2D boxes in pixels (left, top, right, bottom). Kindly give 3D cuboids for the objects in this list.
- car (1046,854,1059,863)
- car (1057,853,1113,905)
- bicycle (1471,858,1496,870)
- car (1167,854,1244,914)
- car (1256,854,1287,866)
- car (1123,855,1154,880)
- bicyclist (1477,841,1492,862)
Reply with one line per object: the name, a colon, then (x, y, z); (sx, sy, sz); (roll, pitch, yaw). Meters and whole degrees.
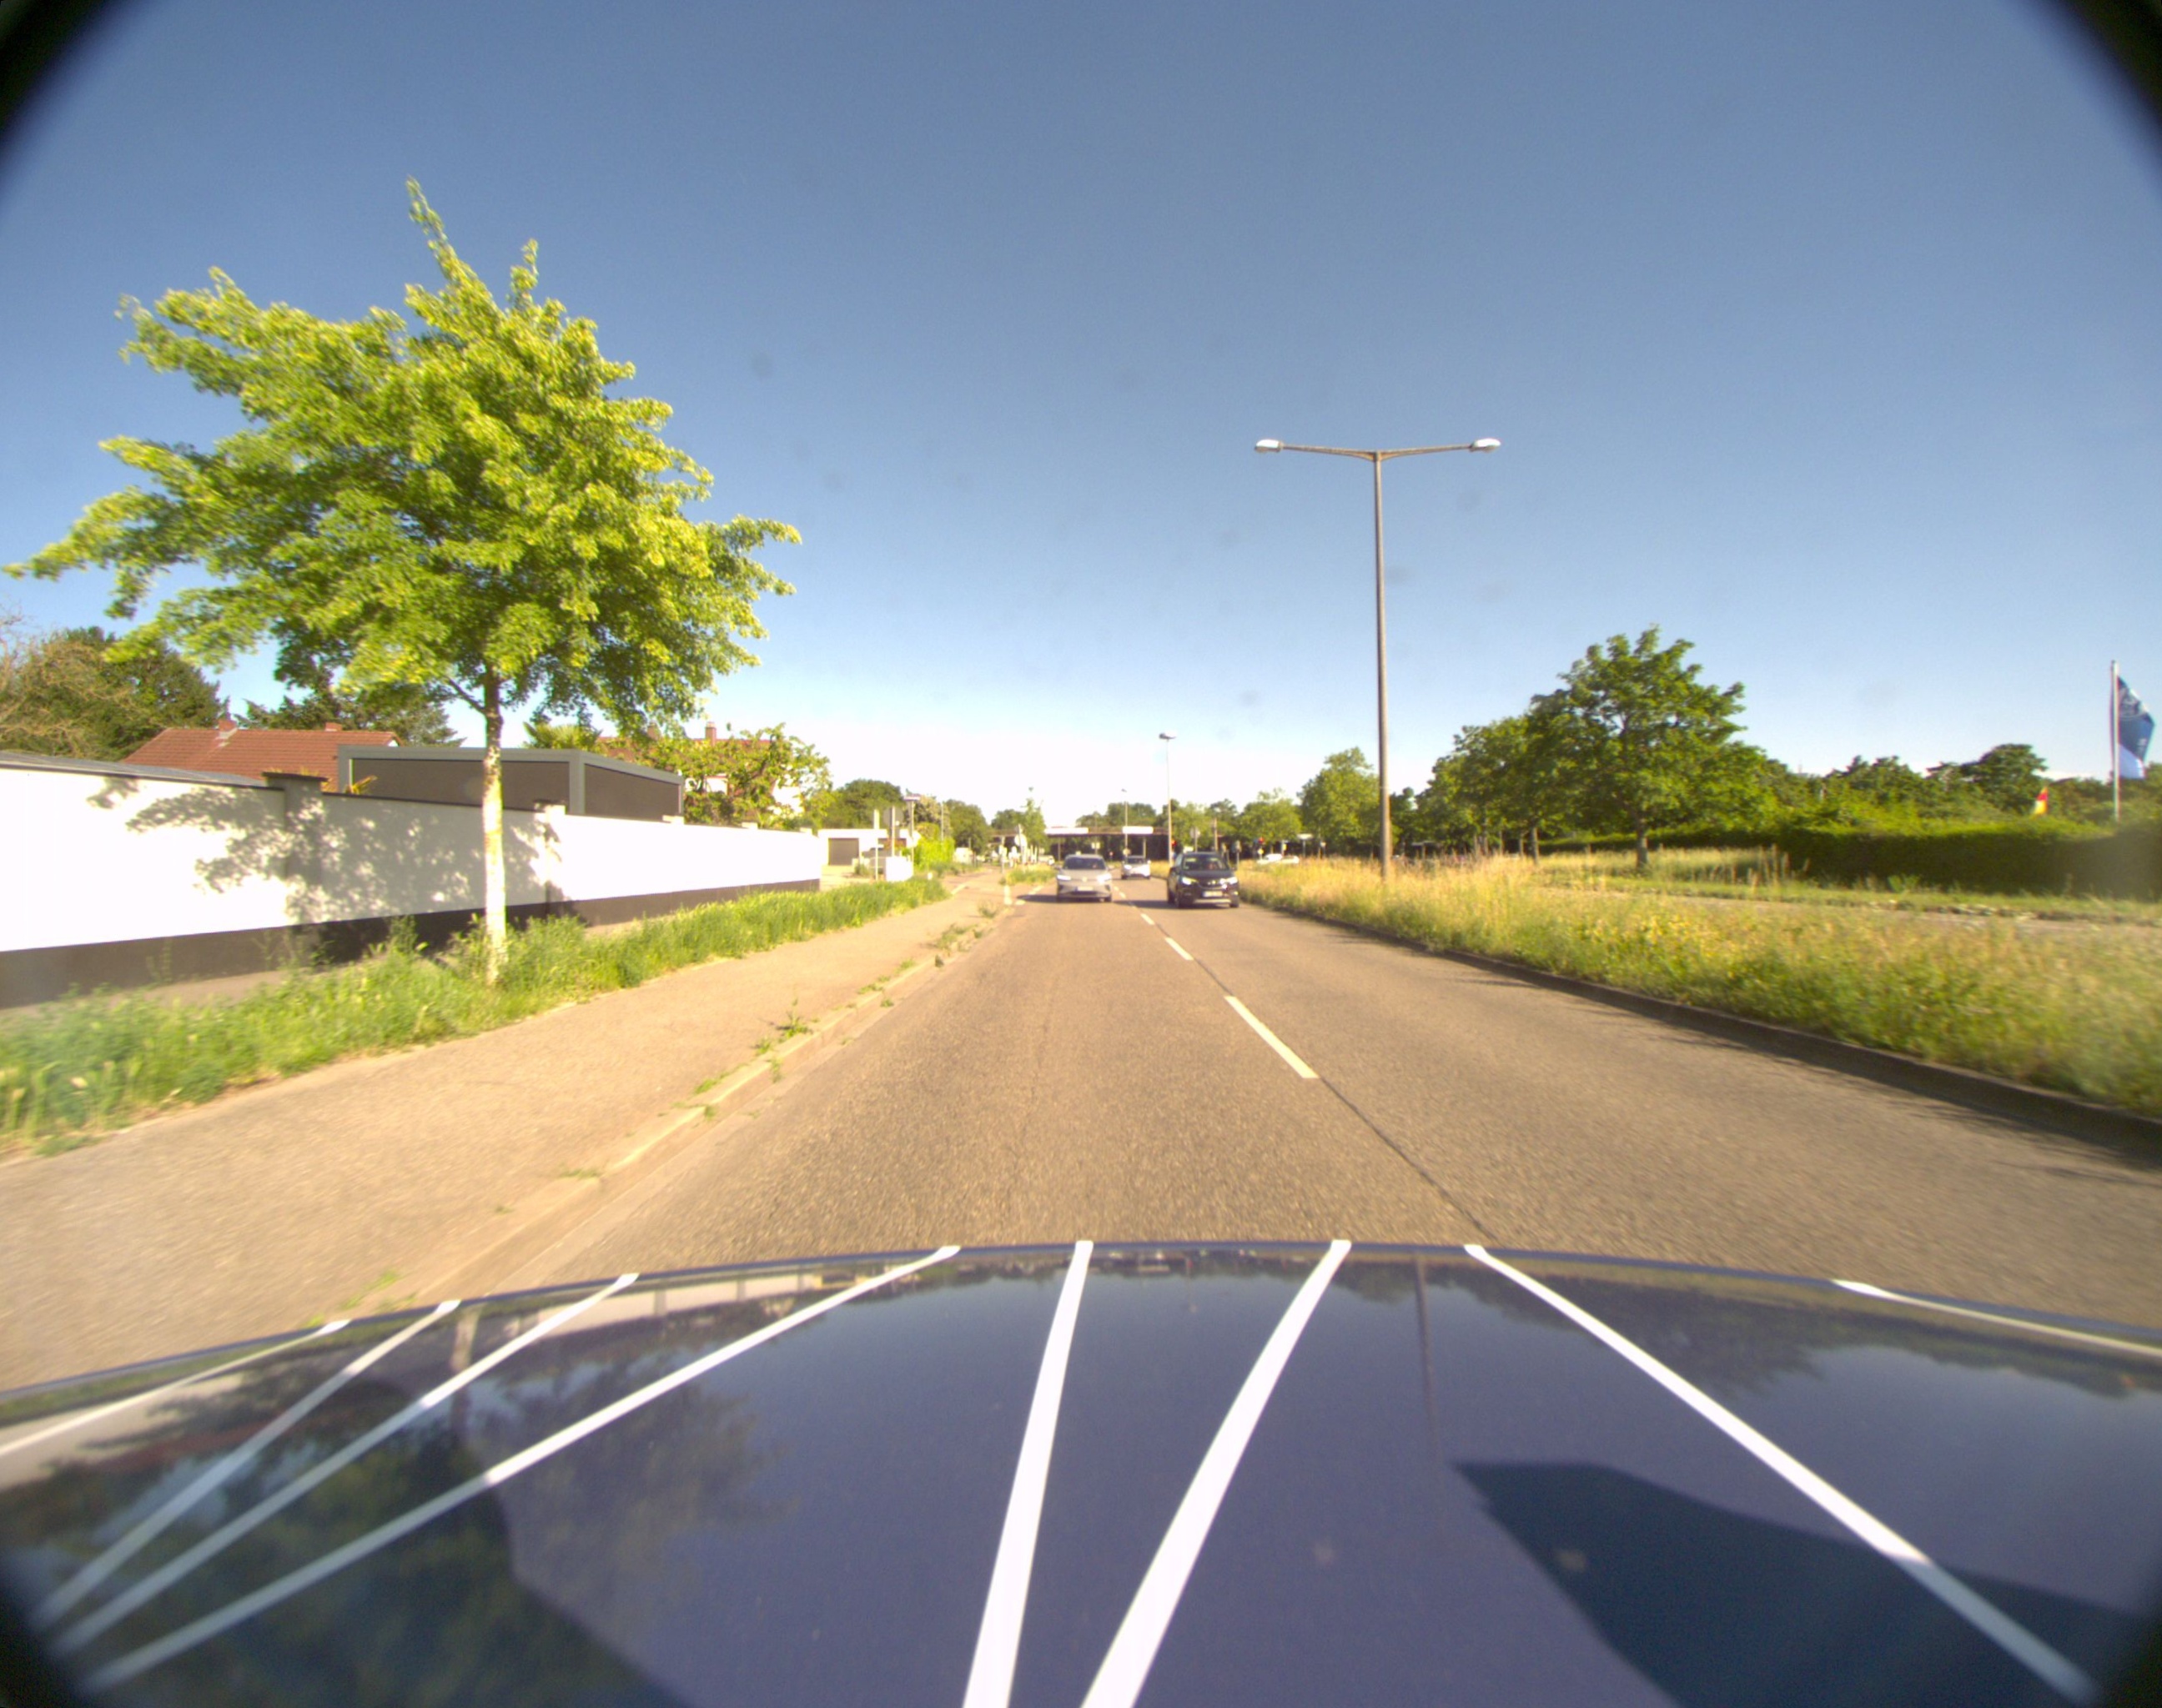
car: (-5.315, 0.864, 141.651); (1.874, 1.611, 3.833); (-1, 0, -8)
car: (0.175, 0.822, 26.877); (1.801, 1.664, 4.240); (-1, 0, 1)
bicycle: (24.849, 0.605, 46.932); (0.566, 0.691, 1.875); (-1, 0, -1)
car: (3.682, 0.839, 23.106); (1.714, 1.653, 3.856); (0, 0, 0)
car: (27.796, 0.844, 110.857); (4.000, 1.744, 1.776); (-1, 0, -8)
car: (3.846, 0.874, 51.535); (1.830, 1.604, 4.092); (-1, 0, 0)
bicyclist: (24.865, -0.169, 46.853); (0.584, 1.249, 0.576); (-1, 0, -3)
